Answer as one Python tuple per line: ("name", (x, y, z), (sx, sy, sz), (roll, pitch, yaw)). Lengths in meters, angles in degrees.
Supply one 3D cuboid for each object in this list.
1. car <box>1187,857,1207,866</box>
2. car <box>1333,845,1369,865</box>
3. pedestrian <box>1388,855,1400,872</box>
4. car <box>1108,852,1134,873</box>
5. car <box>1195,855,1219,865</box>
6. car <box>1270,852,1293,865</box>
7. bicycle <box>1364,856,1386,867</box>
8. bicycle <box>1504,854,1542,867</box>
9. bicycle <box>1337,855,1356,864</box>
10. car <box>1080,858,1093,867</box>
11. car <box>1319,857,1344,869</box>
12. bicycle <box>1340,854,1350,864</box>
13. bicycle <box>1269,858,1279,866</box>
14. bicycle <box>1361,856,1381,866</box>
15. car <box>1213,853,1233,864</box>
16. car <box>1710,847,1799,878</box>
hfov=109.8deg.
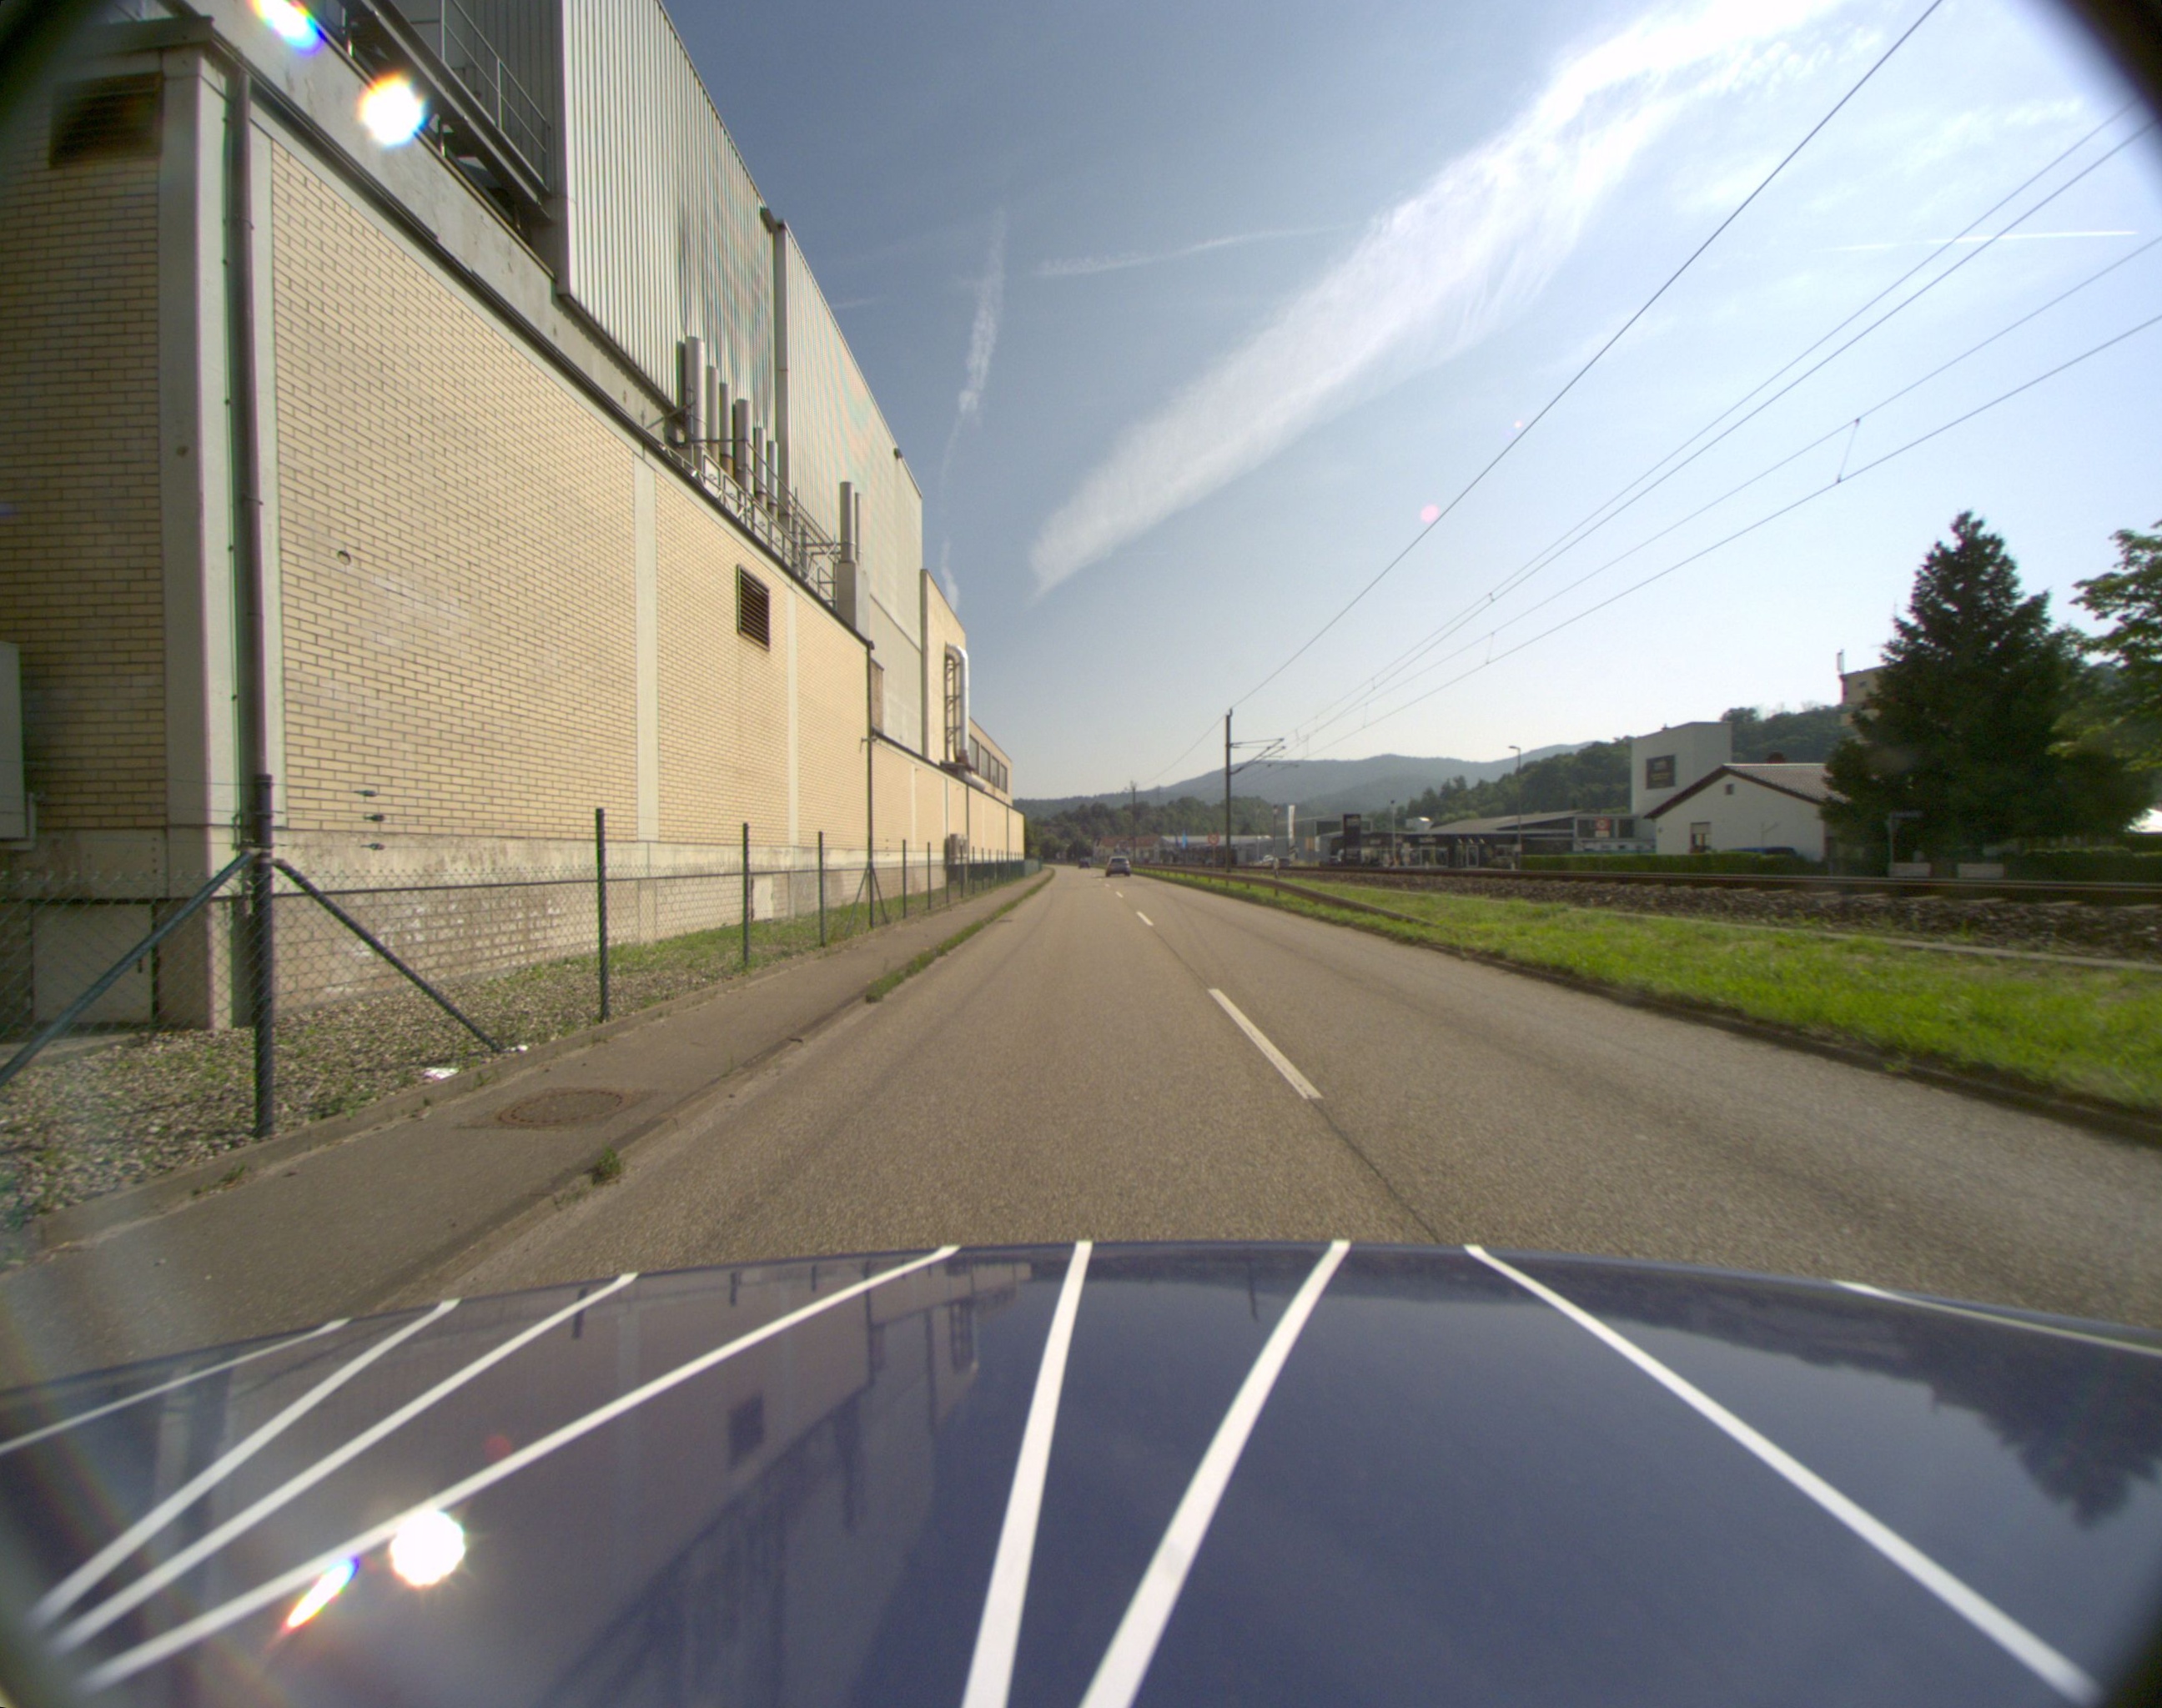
("car", (23.340, 1.474, 152.780), (4.279, 1.519, 1.842), (-4, 1, -45))
("car", (38.134, 0.118, 107.511), (2.380, 2.618, 6.155), (-1, 2, -5))
("pedestrian", (25.042, 0.731, 60.794), (0.575, 1.324, 0.673), (-1, 0, -8))
("car", (3.217, 0.677, 61.715), (1.911, 1.591, 4.570), (-1, 1, 0))
("car", (22.709, 1.006, 136.859), (3.968, 1.519, 1.662), (-4, 1, -6))
("car", (28.111, 0.578, 106.720), (1.523, 1.679, 4.368), (-2, 1, -6))
("bicycle", (32.889, 0.839, 84.987), (2.175, 1.124, 0.729), (-1, 1, -13))
("bicycle", (45.767, 0.676, 78.670), (3.445, 1.281, 0.989), (-2, 1, -7))
("bicycle", (32.862, 0.638, 94.061), (2.173, 1.124, 0.730), (-1, 1, -4))
("car", (0.838, 1.344, 124.090), (1.769, 1.395, 4.118), (-1, 0, -3))
("car", (35.123, 1.247, 106.610), (1.873, 1.654, 3.997), (-1, 1, -6))
("bicycle", (31.701, 0.596, 91.144), (0.728, 1.124, 2.327), (0, 1, 31))
("bicycle", (22.774, 0.961, 89.746), (0.547, 0.917, 1.709), (0, 0, -4))
("bicycle", (33.462, 0.763, 87.648), (2.175, 1.124, 0.729), (-1, 1, -13))
("car", (24.886, 0.833, 133.304), (1.659, 1.613, 4.039), (-3, 1, 38))
("car", (30.479, 0.350, 34.466), (1.394, 1.344, 2.893), (0, 0, -3))
